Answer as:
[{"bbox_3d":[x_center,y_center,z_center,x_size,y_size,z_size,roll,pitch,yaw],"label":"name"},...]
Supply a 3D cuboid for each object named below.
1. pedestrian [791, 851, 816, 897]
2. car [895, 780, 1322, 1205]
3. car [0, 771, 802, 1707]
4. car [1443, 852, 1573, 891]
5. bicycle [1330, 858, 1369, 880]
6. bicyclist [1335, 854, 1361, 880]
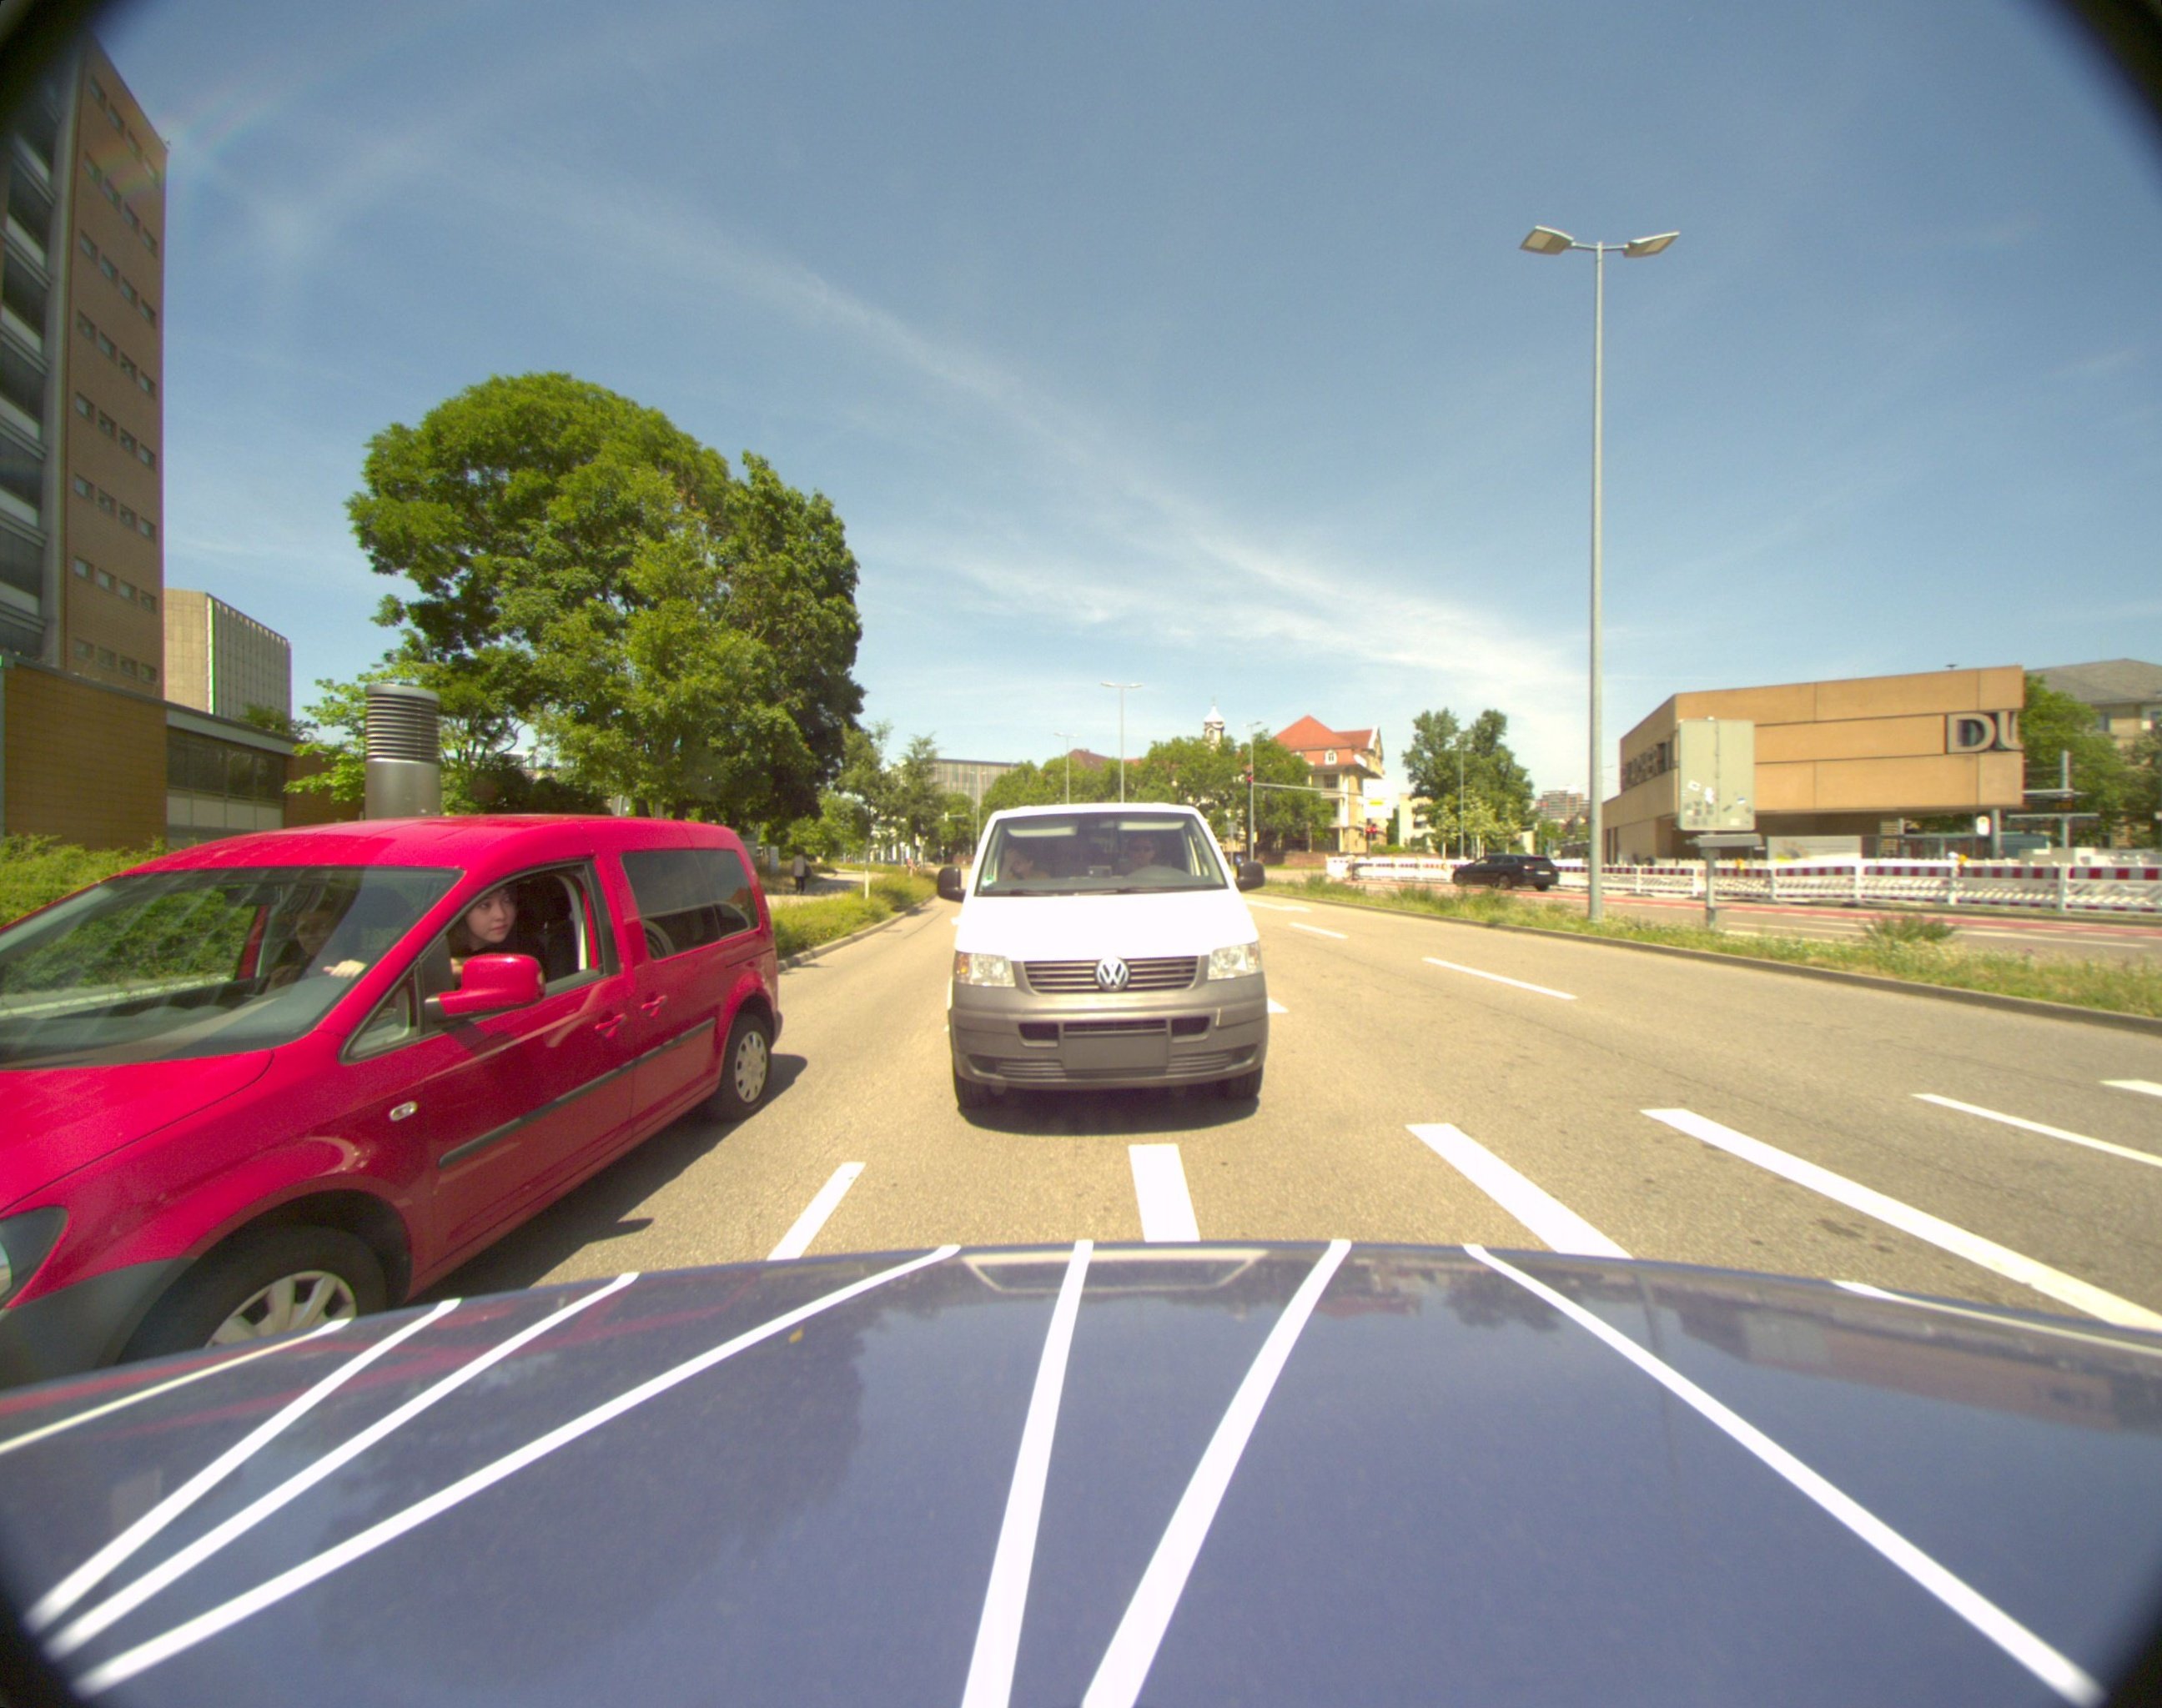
[{"bbox_3d":[-10.725,0.764,29.356,0.728,1.787,0.614,0,1,1],"label":"pedestrian"},{"bbox_3d":[0.110,0.649,6.040,1.971,1.958,4.848,-2,0,-1],"label":"car"},{"bbox_3d":[-2.837,0.784,3.026,1.655,1.848,4.546,-1,0,1],"label":"car"},{"bbox_3d":[17.345,0.670,31.196,2.000,1.456,4.841,0,0,-11],"label":"car"},{"bbox_3d":[14.358,0.794,40.692,0.879,1.066,2.229,-2,1,-14],"label":"bicycle"},{"bbox_3d":[14.359,0.663,40.848,0.587,1.348,1.438,-3,1,-14],"label":"bicyclist"}]
